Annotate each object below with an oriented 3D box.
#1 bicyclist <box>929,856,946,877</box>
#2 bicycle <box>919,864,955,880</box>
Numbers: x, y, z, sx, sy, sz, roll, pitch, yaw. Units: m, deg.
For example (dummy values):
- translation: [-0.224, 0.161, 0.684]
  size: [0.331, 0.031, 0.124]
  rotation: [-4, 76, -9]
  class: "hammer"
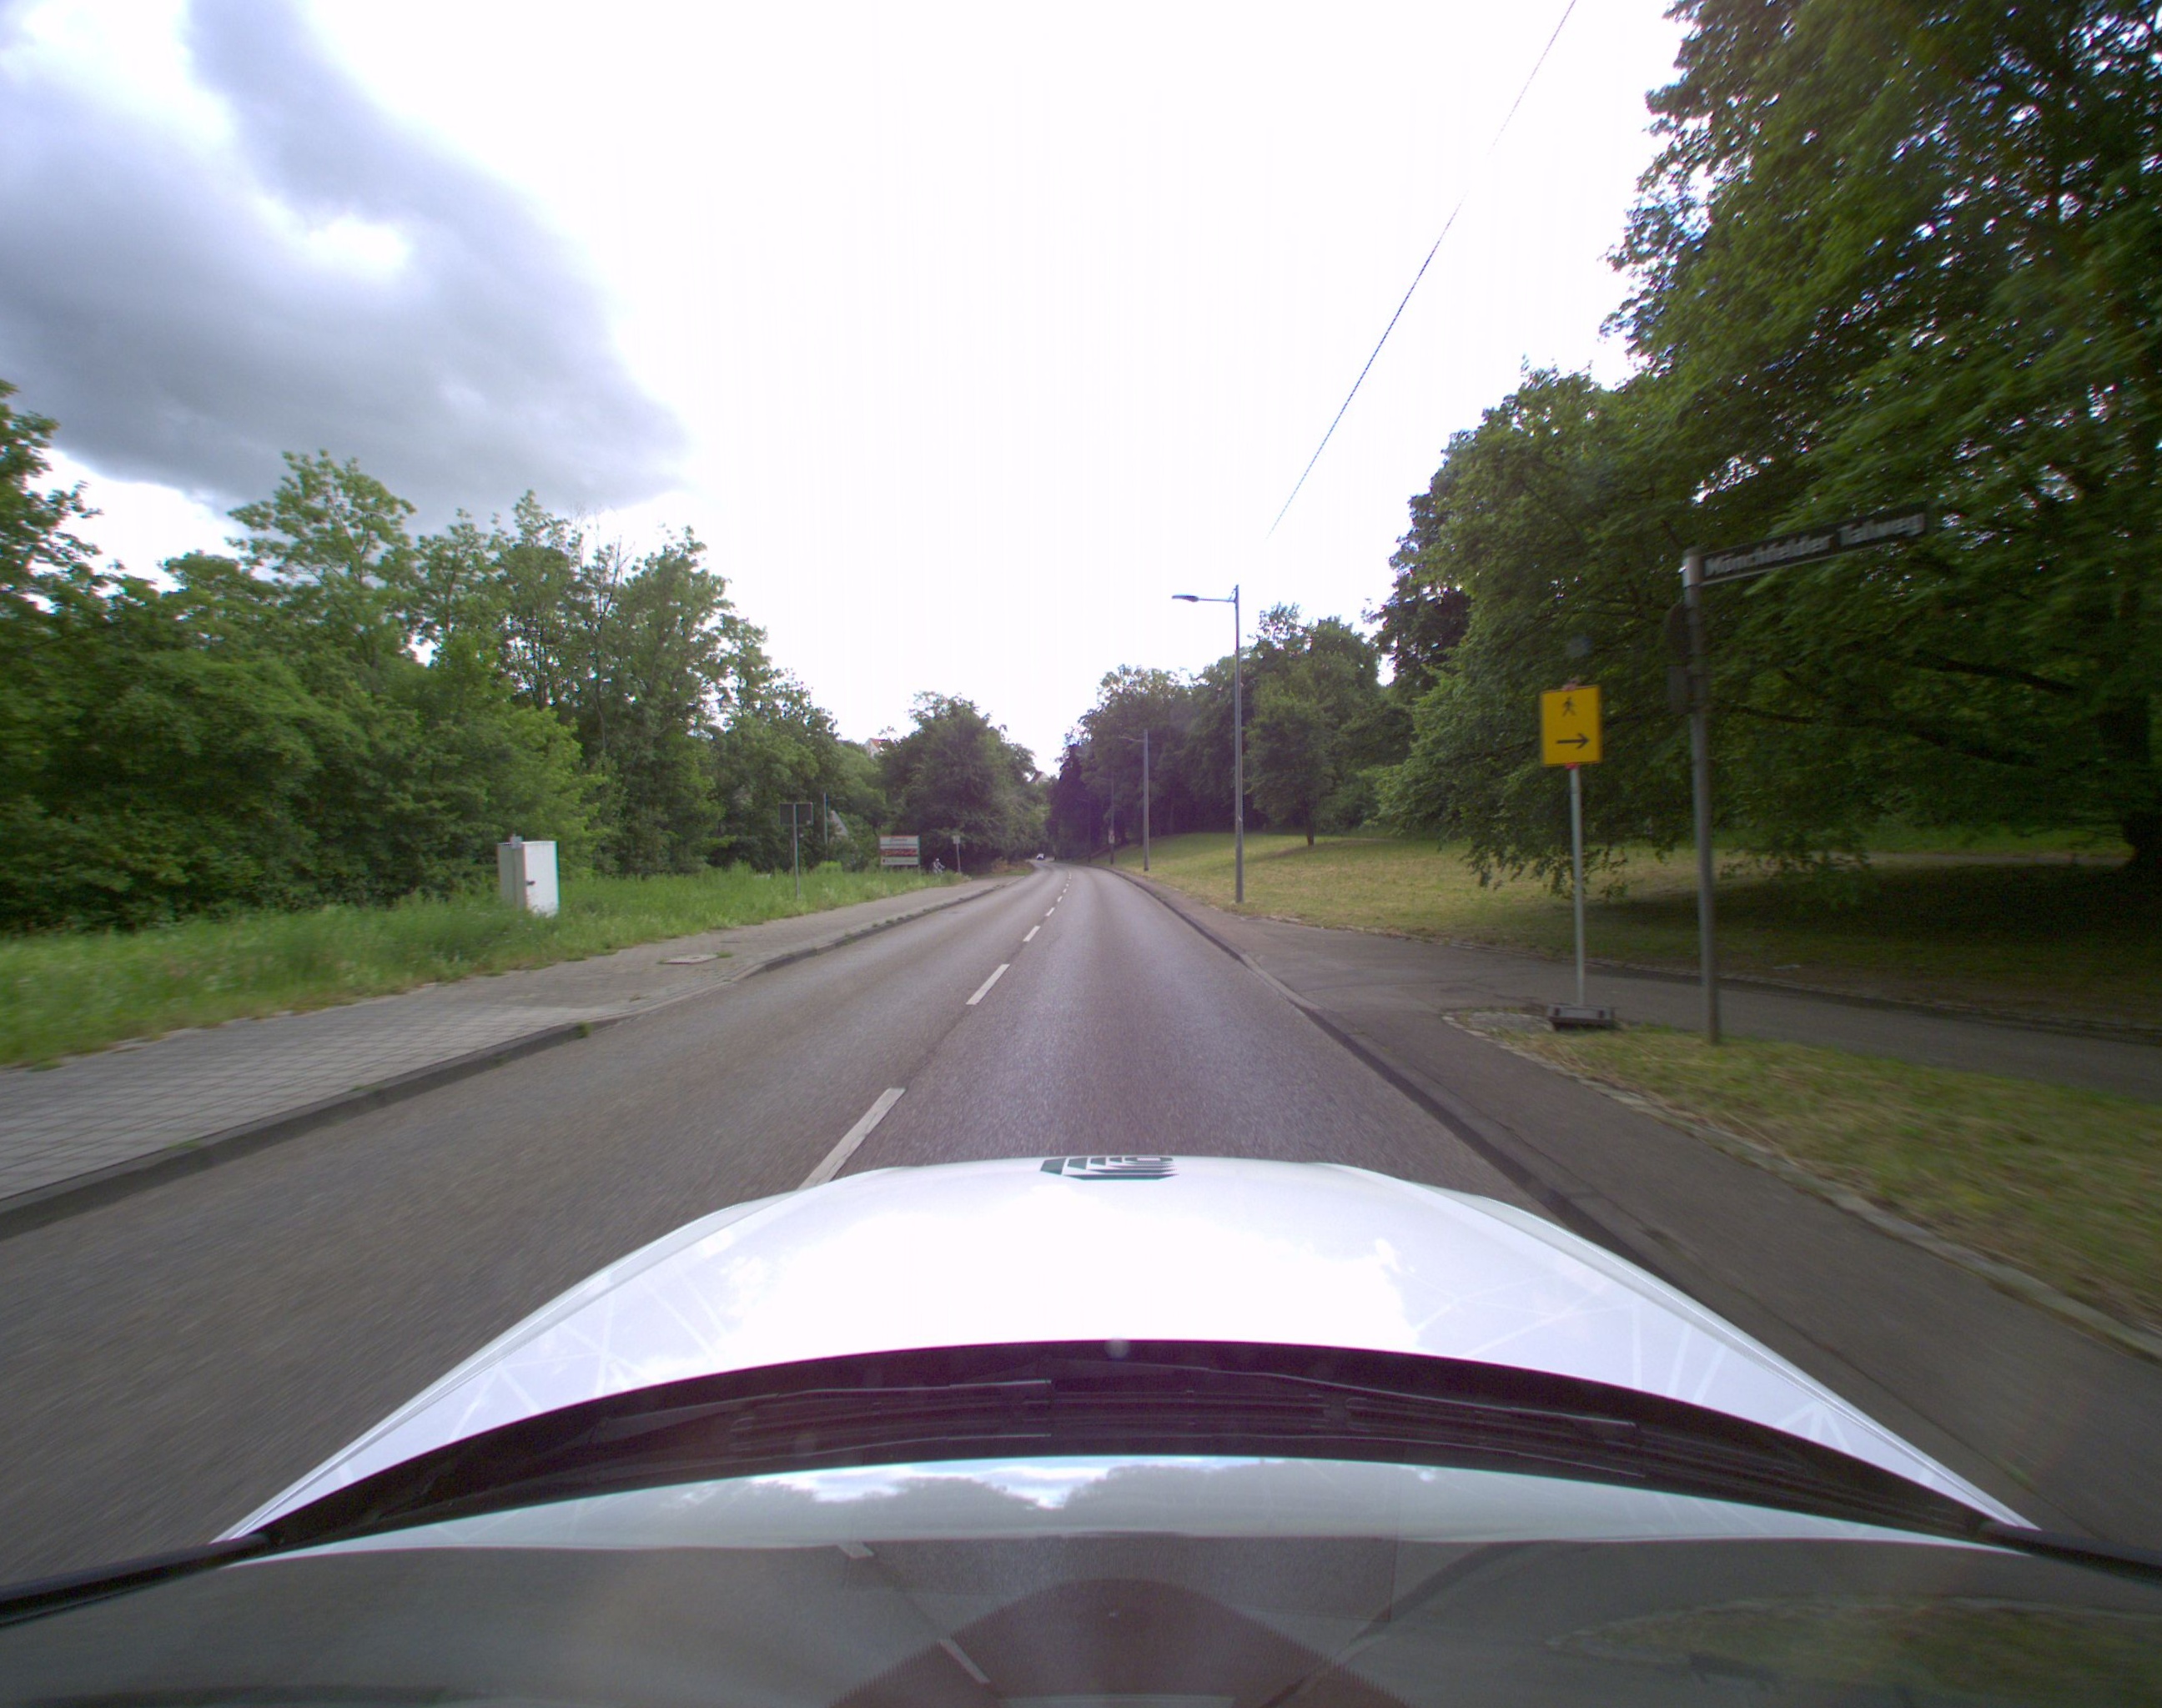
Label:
- translation: [-9.588, 0.844, 54.382]
  size: [0.771, 1.427, 0.834]
  rotation: [-1, -1, 31]
  class: "bicyclist"
- translation: [-9.602, 1.200, 54.402]
  size: [2.412, 1.036, 0.837]
  rotation: [0, -1, 31]
  class: "bicycle"
